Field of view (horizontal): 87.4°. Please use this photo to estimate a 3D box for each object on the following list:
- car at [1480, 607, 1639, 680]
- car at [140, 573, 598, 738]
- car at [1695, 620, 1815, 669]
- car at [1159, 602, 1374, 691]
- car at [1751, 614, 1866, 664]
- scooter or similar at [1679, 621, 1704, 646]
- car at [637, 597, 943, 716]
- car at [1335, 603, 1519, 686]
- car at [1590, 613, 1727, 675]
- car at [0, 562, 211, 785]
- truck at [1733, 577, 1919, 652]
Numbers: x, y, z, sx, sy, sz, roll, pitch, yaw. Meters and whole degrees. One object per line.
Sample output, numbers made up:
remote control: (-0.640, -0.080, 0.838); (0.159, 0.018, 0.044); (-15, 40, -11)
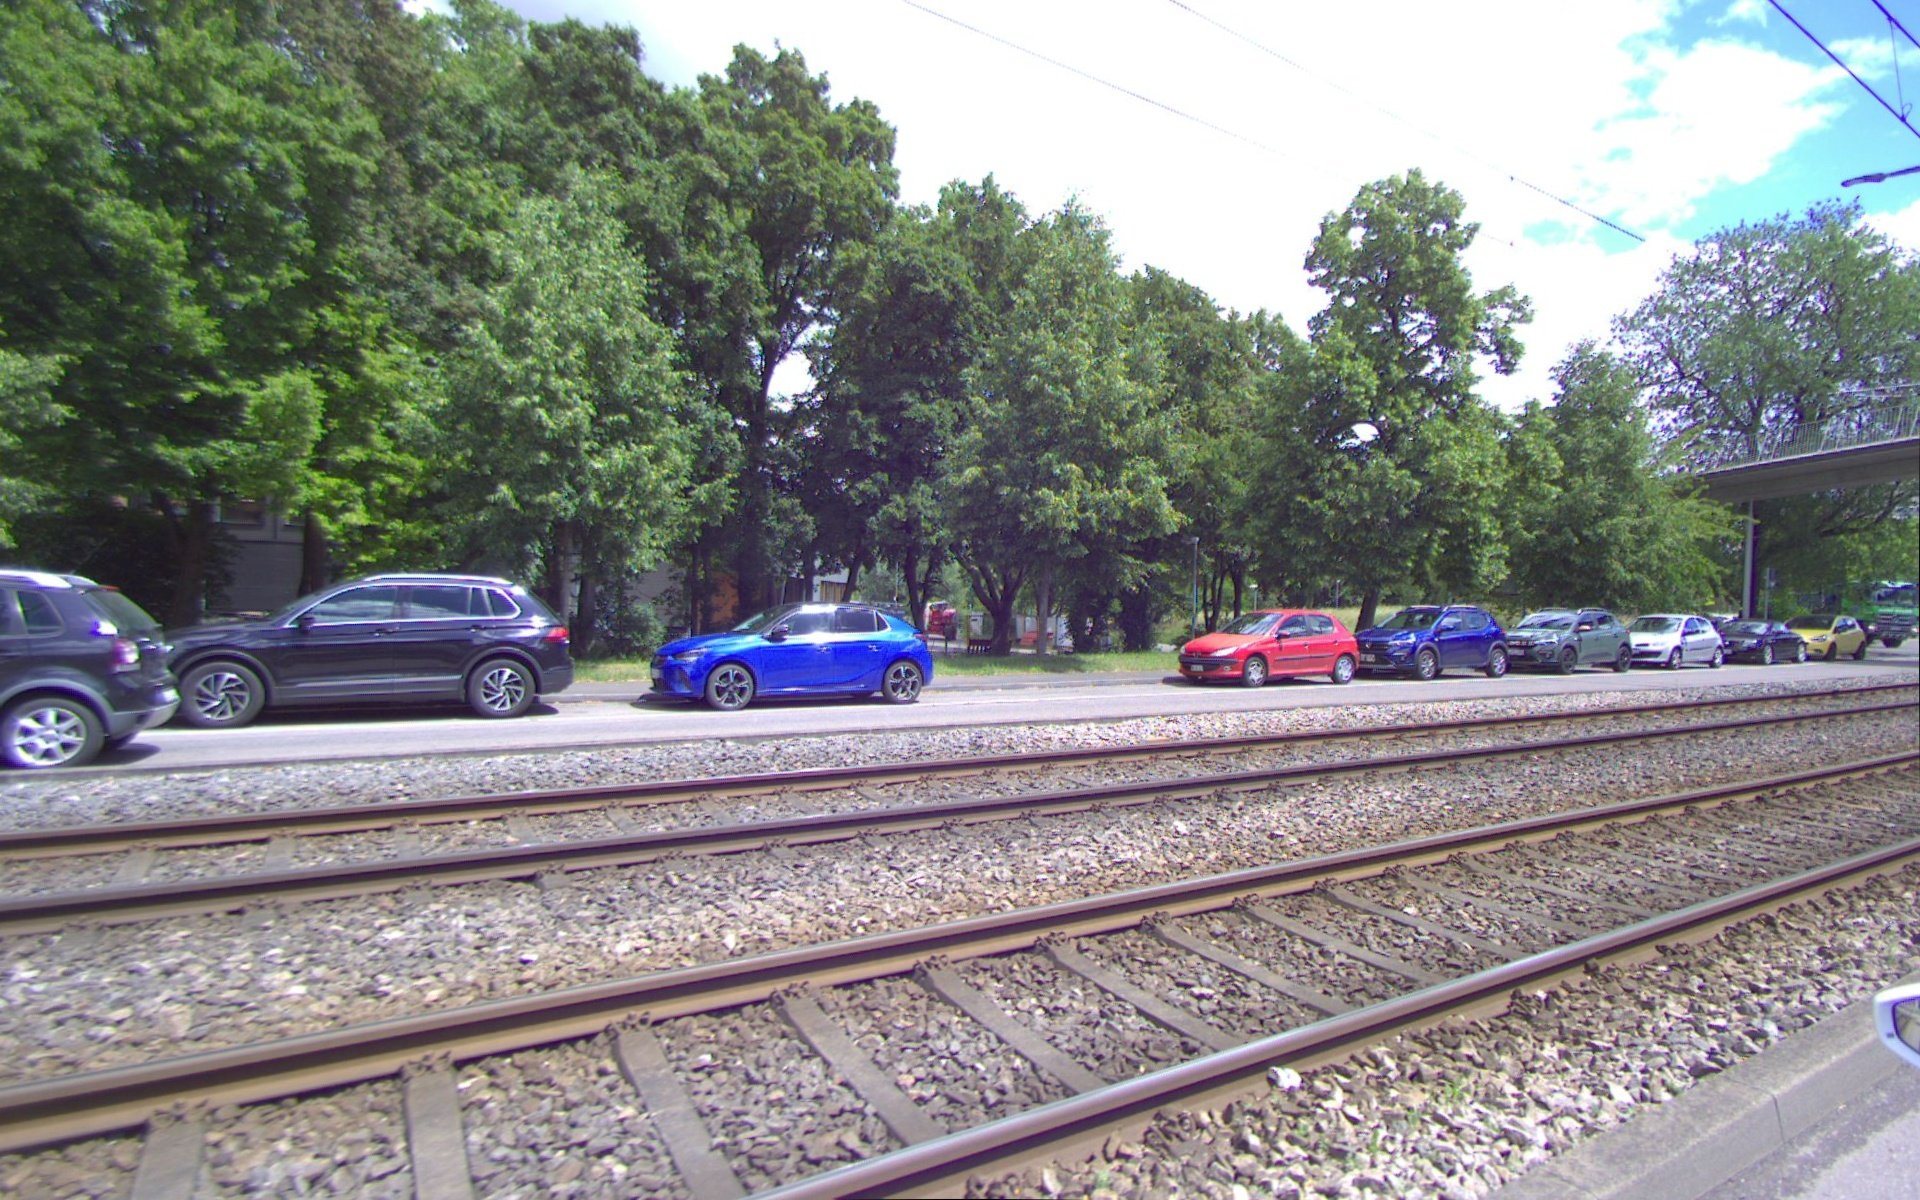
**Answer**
car: (14.838, 1.059, 24.819); (4.078, 1.644, 1.634); (1, 0, -31)
car: (-6.632, 0.569, 11.721); (4.324, 1.627, 1.572); (1, 0, -31)
car: (24.178, 1.331, 30.513); (4.081, 1.378, 1.503); (1, 0, -31)
car: (5.986, 0.918, 19.517); (3.998, 1.514, 1.606); (3, 1, -29)
car: (28.123, 1.297, 33.266); (3.854, 1.470, 1.680); (3, 1, -31)
scooter or similar: (36.526, 1.667, 50.147); (0.778, 1.162, 0.707); (2, 2, -29)
car: (-2.357, 0.801, 14.237); (3.962, 1.480, 1.605); (3, -2, -31)
car: (10.312, 0.989, 22.102); (4.112, 1.617, 1.549); (3, 1, -31)
car: (19.290, 1.221, 27.680); (4.147, 1.514, 1.584); (2, 1, -33)
car: (-8.226, 0.493, 7.558); (3.955, 1.595, 1.604); (2, 1, -32)
truck: (44.619, 0.583, 51.914); (2.822, 3.364, 9.033); (3, 2, 5)
